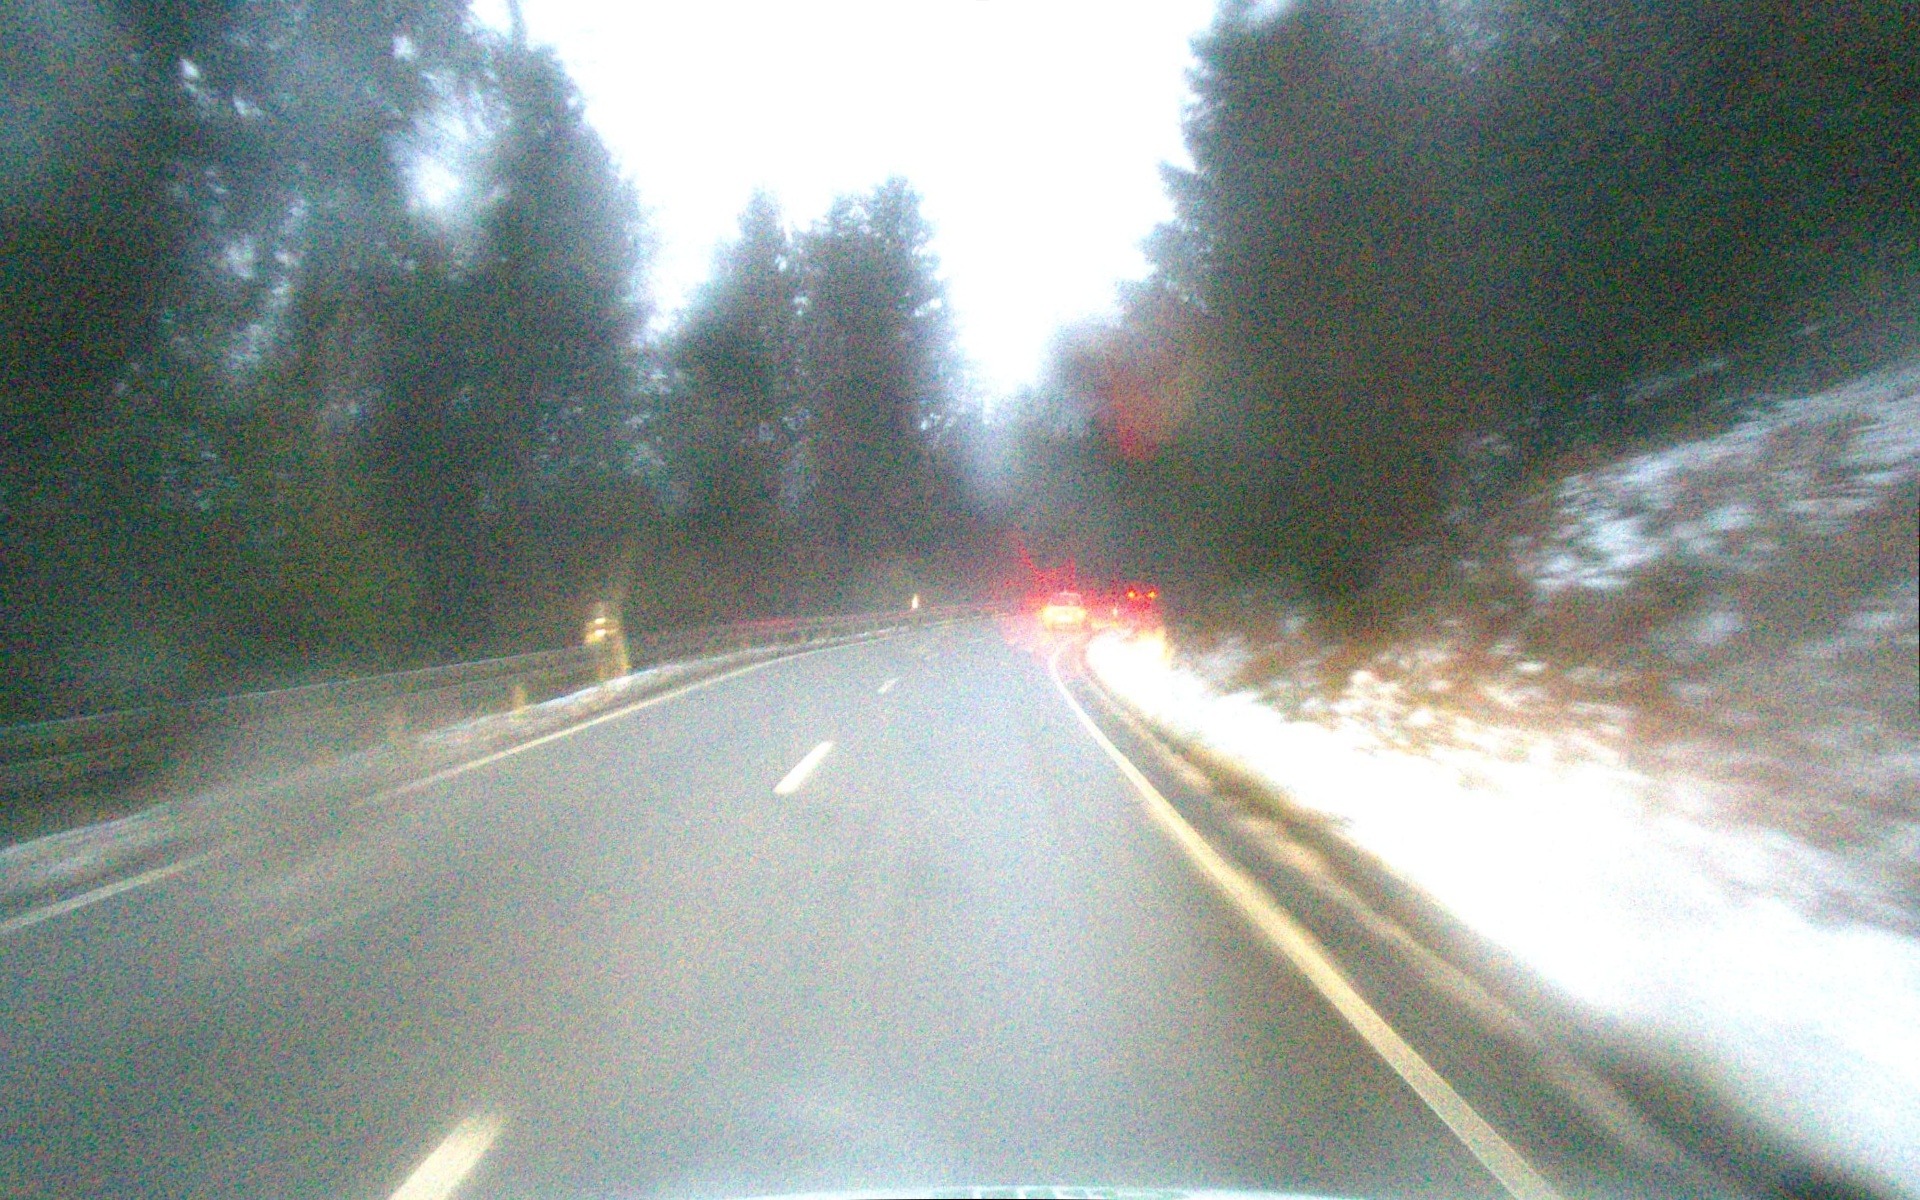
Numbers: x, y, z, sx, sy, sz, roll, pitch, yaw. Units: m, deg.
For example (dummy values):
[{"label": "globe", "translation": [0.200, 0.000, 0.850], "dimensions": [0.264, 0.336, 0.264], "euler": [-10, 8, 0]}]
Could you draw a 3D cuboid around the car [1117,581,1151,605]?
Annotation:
[{"label": "car", "translation": [10.563, -0.436, 100.249], "dimensions": [1.951, 1.333, 4.003], "euler": [-2, 1, 6]}]

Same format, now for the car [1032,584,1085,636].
[{"label": "car", "translation": [3.829, 0.365, 64.719], "dimensions": [1.952, 1.905, 4.002], "euler": [-2, 1, 3]}]
